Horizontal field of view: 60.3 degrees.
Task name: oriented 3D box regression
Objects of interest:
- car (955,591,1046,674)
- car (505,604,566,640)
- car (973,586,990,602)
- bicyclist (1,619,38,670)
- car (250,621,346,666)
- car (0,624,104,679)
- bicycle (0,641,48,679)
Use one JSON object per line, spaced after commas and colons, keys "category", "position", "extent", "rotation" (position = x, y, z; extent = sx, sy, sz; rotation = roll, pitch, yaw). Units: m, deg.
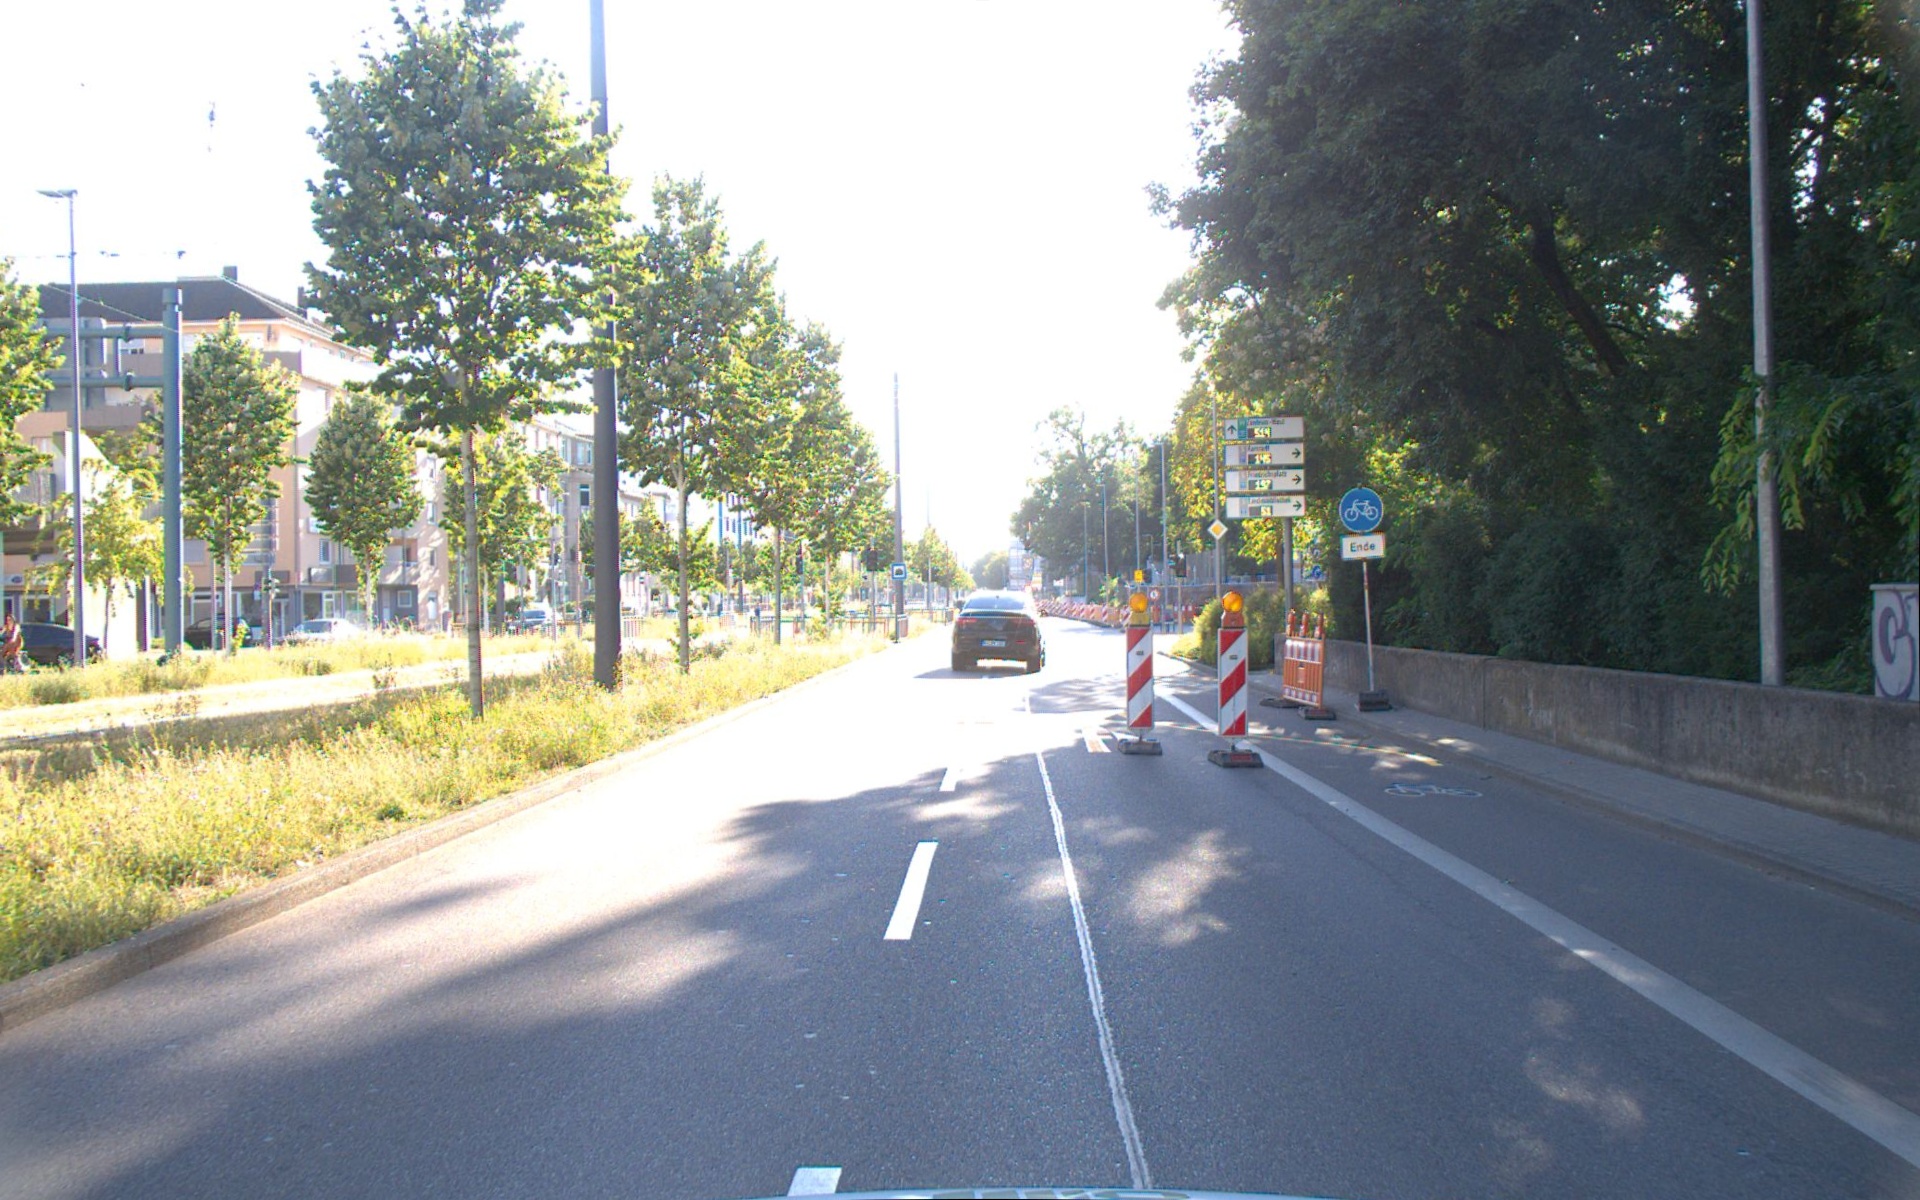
{"category": "car", "position": [0.884, 0.685, 37.452], "extent": [1.952, 1.765, 4.000], "rotation": [0, 0, 0]}
{"category": "car", "position": [-20.569, 1.044, 80.295], "extent": [1.845, 1.668, 4.001], "rotation": [-1, 0, 1]}
{"category": "car", "position": [2.302, -0.678, 178.013], "extent": [1.847, 1.608, 4.001], "rotation": [0, 1, 1]}
{"category": "bicyclist", "position": [-25.768, 1.208, 45.320], "extent": [0.580, 1.379, 0.759], "rotation": [0, 0, -1]}
{"category": "car", "position": [-23.244, 1.498, 58.228], "extent": [1.894, 1.421, 3.687], "rotation": [-1, 0, -1]}
{"category": "car", "position": [-28.590, 1.562, 50.586], "extent": [3.963, 1.590, 1.971], "rotation": [0, 0, -41]}
{"category": "bicycle", "position": [-25.768, 1.633, 45.372], "extent": [0.594, 0.980, 1.717], "rotation": [0, 0, -1]}
